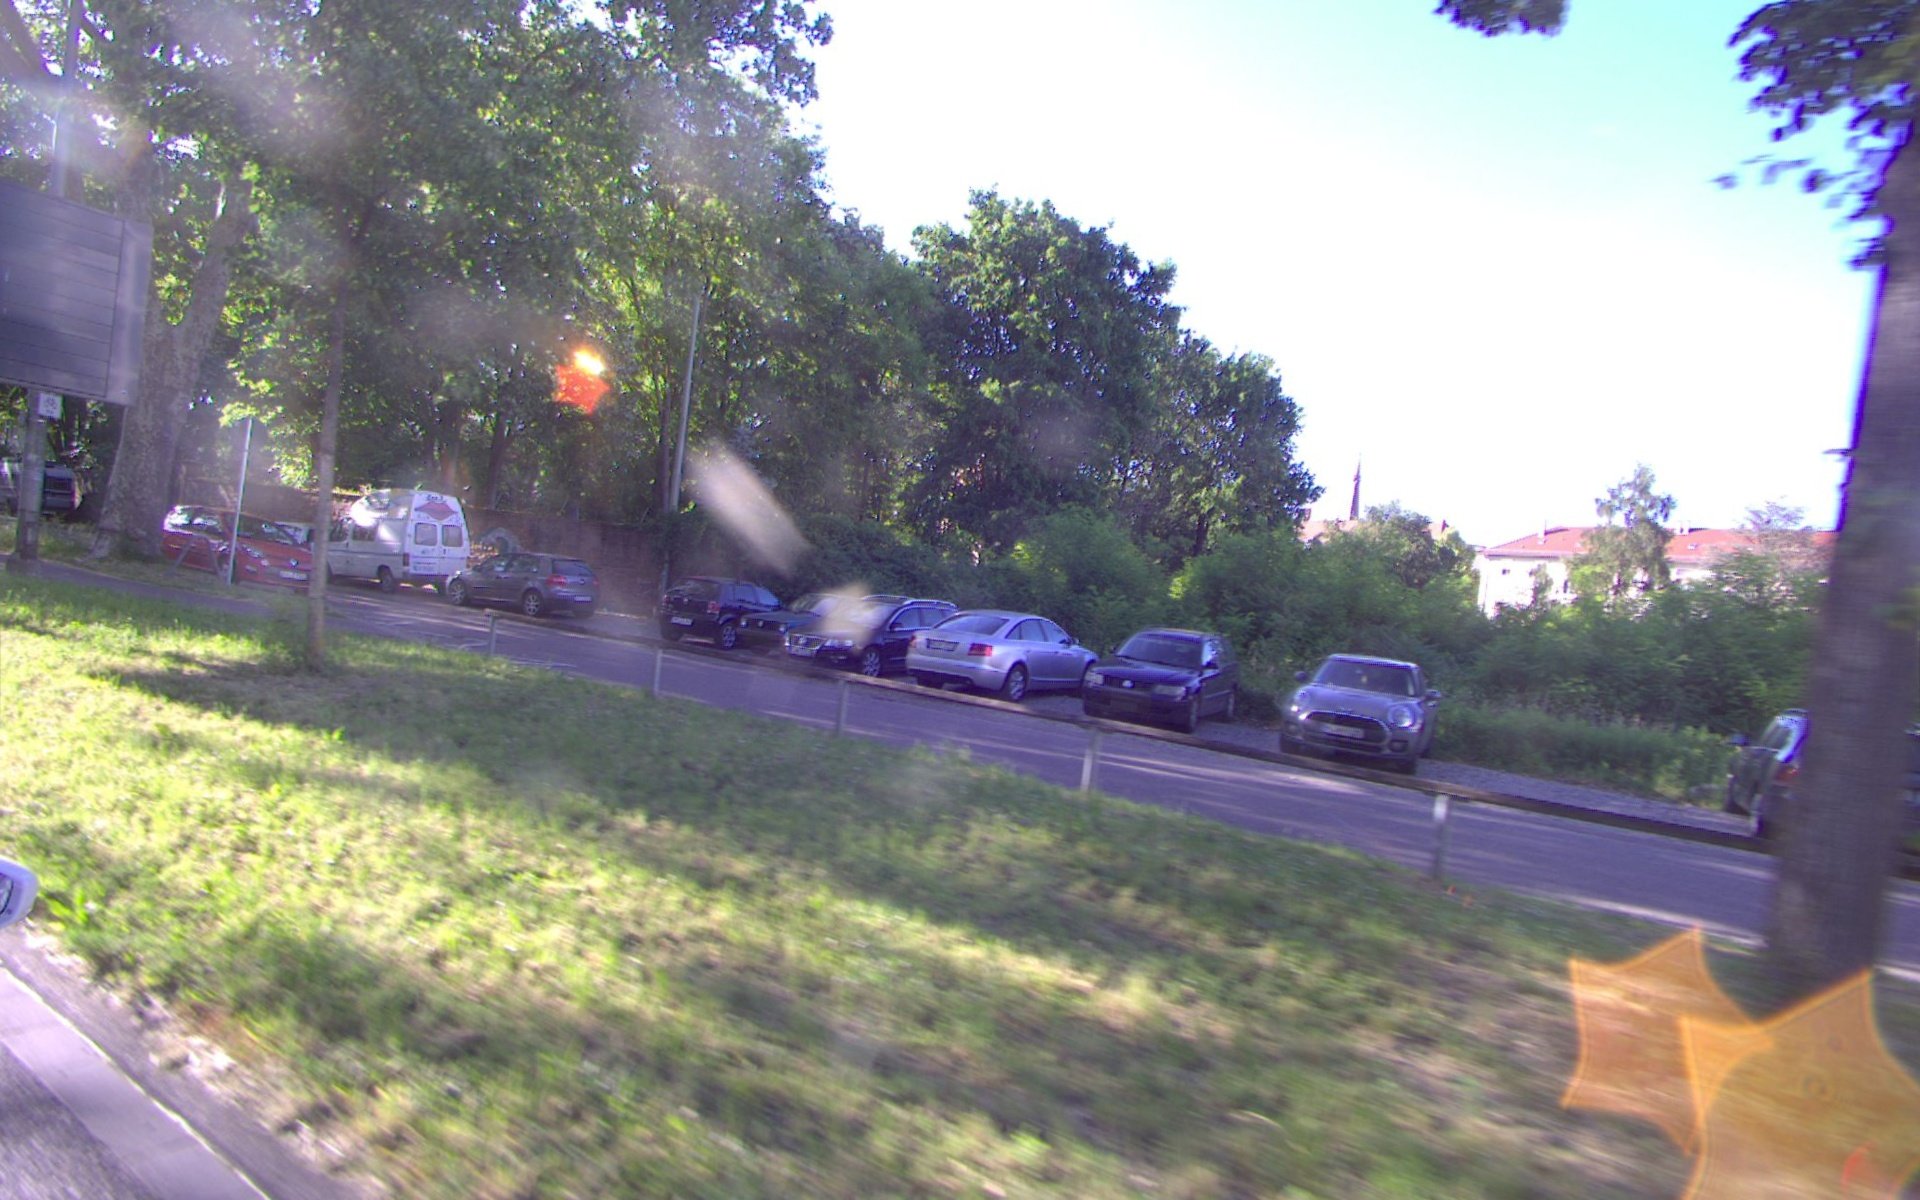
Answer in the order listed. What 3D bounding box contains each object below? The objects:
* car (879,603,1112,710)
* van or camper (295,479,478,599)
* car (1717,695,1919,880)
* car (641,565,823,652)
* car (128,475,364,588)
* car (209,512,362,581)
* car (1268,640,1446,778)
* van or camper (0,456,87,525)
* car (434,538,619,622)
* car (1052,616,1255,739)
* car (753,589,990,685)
[{"bbox_3d":[0.761,0.881,17.657,1.968,1.430,4.375,7,4,34],"label":"car"},{"bbox_3d":[-15.605,-1.676,27.319,4.879,2.768,1.994,7,3,29],"label":"van or camper"},{"bbox_3d":[10.096,2.027,11.640,1.688,1.487,4.081,7,1,33],"label":"car"},{"bbox_3d":[-4.897,0.256,22.212,1.734,1.523,3.998,7,-1,24],"label":"car"},{"bbox_3d":[-14.308,-1.373,20.184,3.927,1.659,2.001,7,-2,24],"label":"car"},{"bbox_3d":[-20.167,-1.590,30.088,3.926,1.640,1.842,7,4,21],"label":"car"},{"bbox_3d":[5.940,1.487,14.752,1.752,1.517,4.197,7,0,29],"label":"car"},{"bbox_3d":[-43.593,-5.190,47.222,6.464,2.720,2.554,7,3,37],"label":"van or camper"},{"bbox_3d":[-10.663,-0.494,24.754,3.928,1.594,1.998,6,1,25],"label":"car"},{"bbox_3d":[3.298,1.155,16.403,1.874,1.497,4.332,8,2,28],"label":"car"},{"bbox_3d":[-1.527,0.646,19.253,1.967,1.425,4.718,7,3,32],"label":"car"}]
